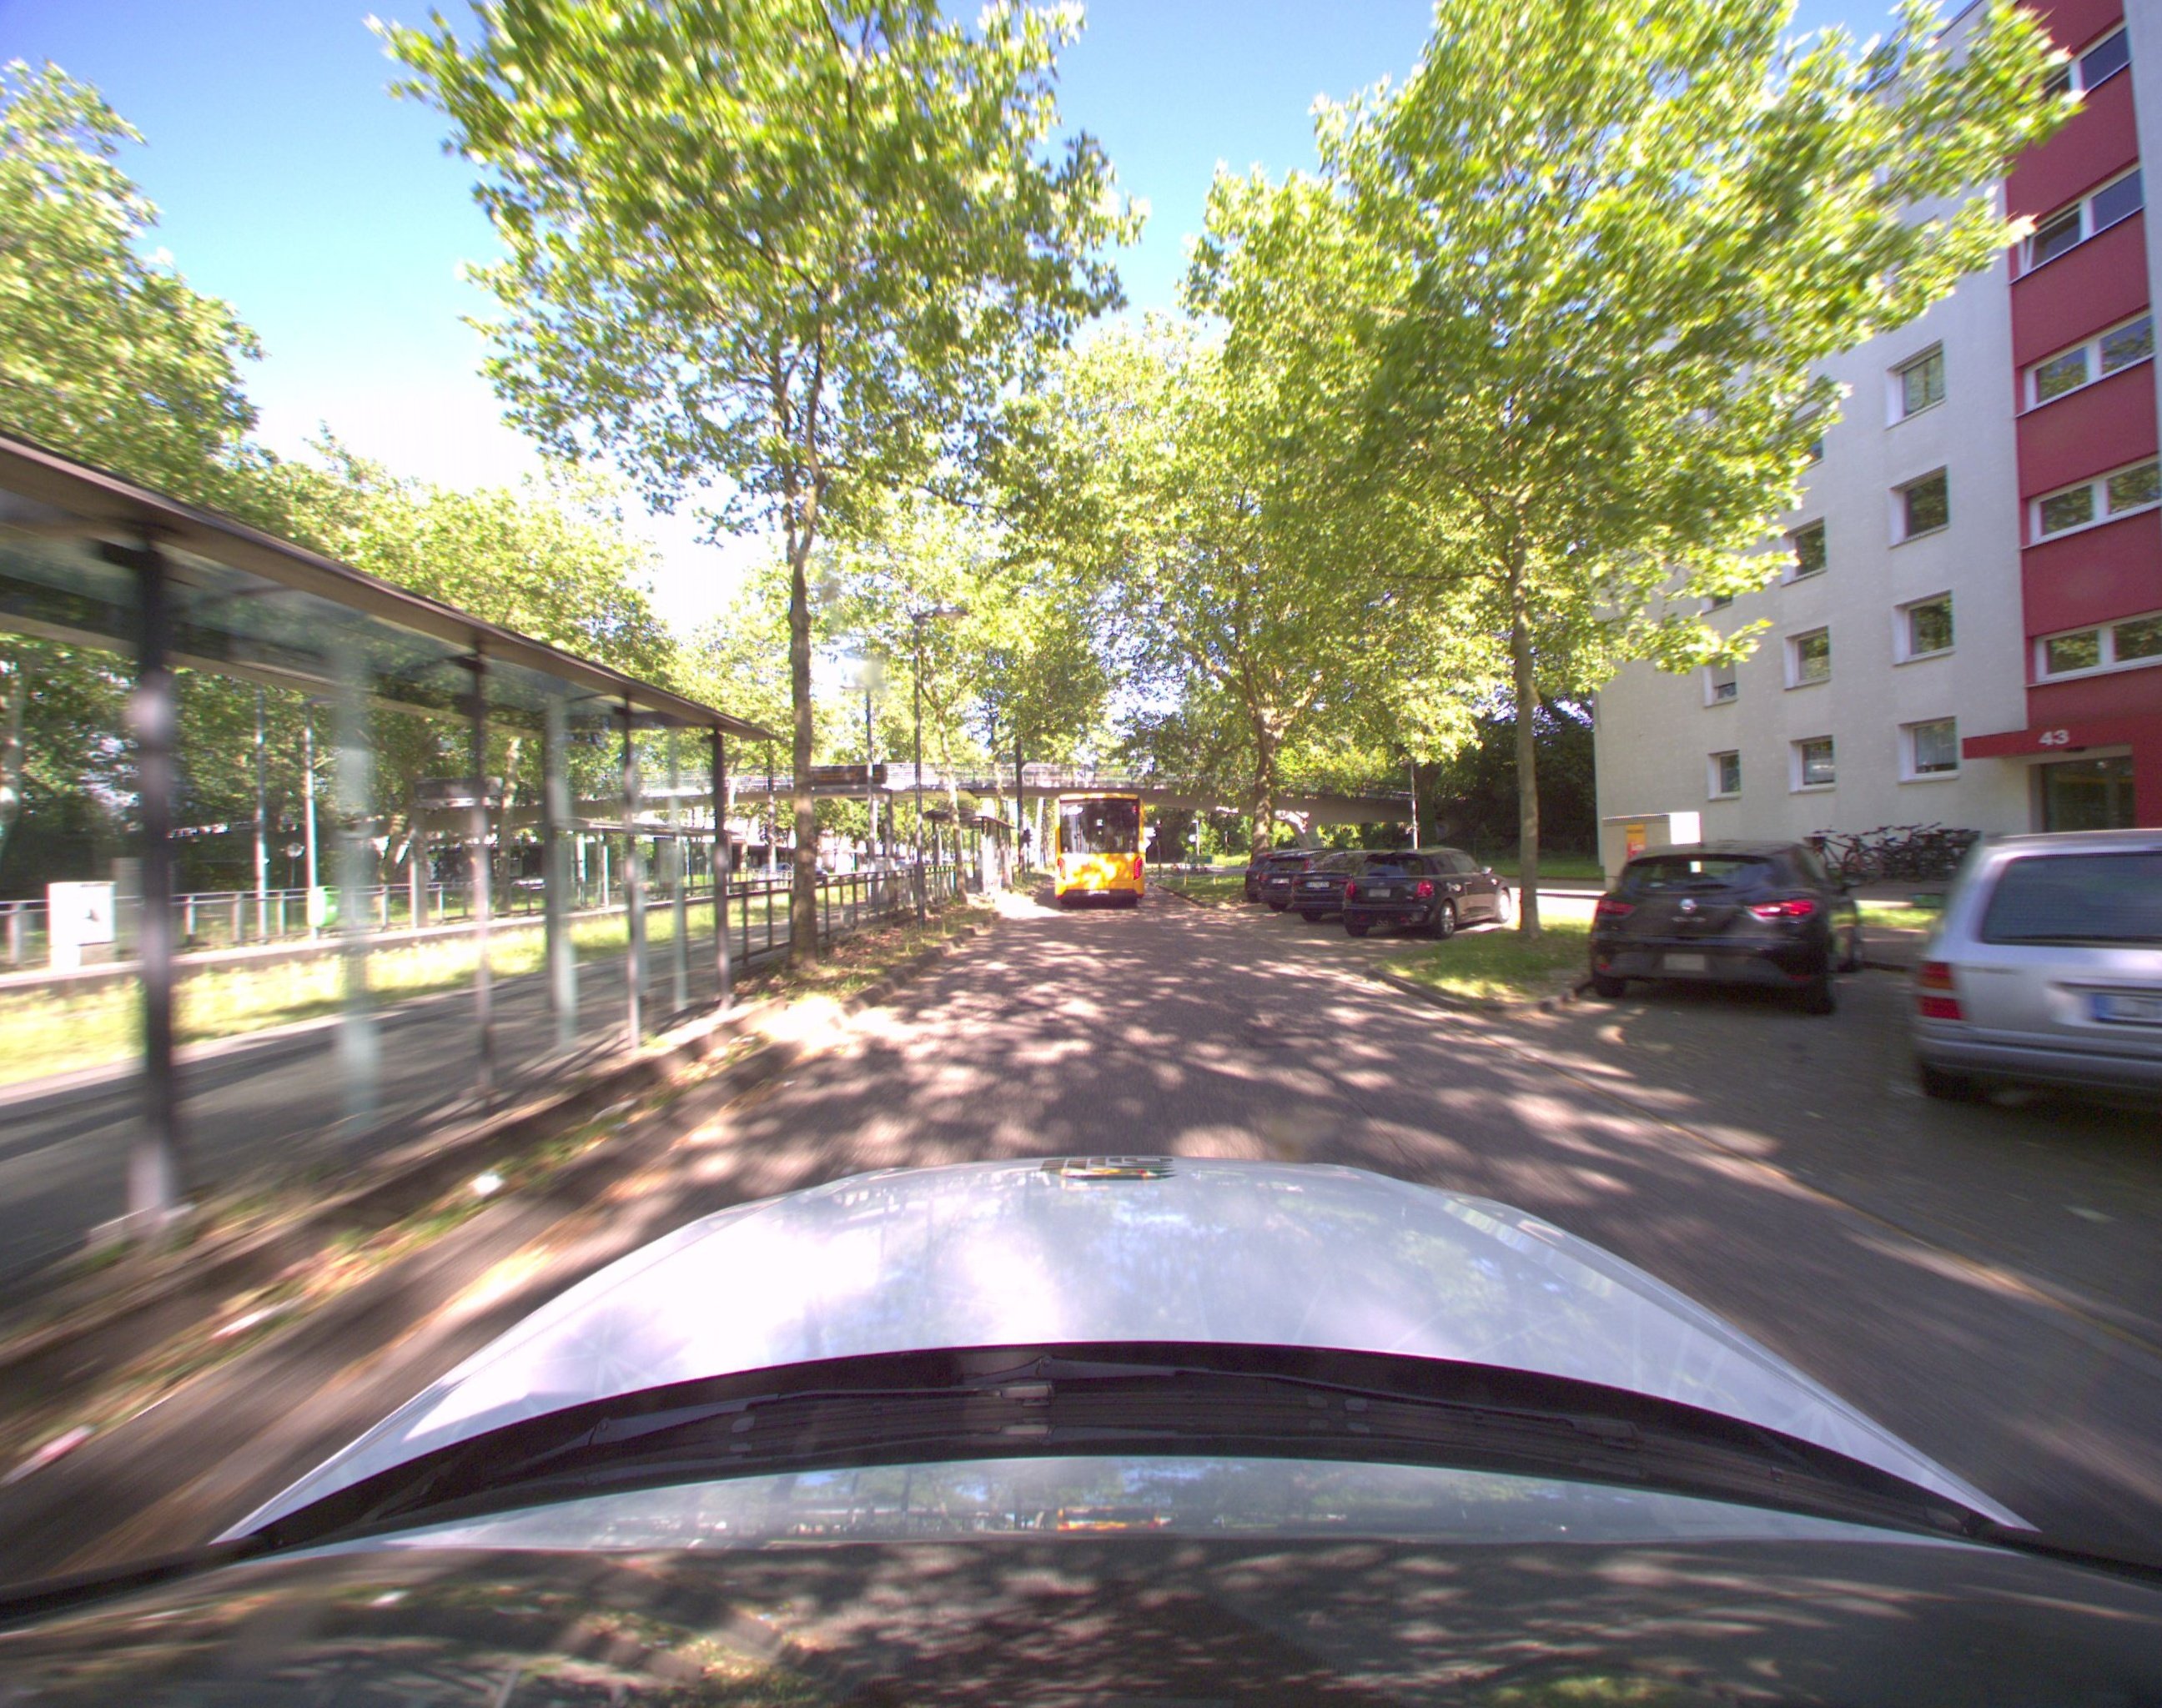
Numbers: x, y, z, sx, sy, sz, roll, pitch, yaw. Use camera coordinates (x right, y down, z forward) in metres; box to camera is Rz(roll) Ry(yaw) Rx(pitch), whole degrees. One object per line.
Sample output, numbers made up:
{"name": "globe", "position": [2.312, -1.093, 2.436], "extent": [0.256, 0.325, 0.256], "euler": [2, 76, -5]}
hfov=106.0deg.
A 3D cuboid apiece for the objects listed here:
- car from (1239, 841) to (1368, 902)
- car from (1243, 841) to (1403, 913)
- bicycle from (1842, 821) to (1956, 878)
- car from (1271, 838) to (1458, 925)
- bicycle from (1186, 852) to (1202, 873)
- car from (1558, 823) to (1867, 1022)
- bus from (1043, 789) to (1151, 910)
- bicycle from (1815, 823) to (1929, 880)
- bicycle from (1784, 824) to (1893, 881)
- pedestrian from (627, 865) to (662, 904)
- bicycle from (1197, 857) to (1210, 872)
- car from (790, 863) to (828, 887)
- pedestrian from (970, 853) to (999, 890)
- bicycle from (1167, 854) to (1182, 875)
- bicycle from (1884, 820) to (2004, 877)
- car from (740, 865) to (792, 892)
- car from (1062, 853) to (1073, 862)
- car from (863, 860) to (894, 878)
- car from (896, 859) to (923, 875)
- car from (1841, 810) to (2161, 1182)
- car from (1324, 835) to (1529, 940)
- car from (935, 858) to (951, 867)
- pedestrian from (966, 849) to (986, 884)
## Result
{"name": "car", "position": [6.581, 0.493, 23.835], "extent": [4.024, 1.461, 1.778], "euler": [-4, 0, -44]}
{"name": "car", "position": [6.229, 0.542, 20.718], "extent": [4.279, 1.461, 1.779], "euler": [-4, 0, -40]}
{"name": "bicycle", "position": [17.185, -0.090, 17.171], "extent": [0.588, 1.107, 1.800], "euler": [-2, 0, 0]}
{"name": "car", "position": [6.168, 0.537, 17.489], "extent": [4.279, 1.461, 1.779], "euler": [-4, 0, -40]}
{"name": "bicycle", "position": [6.838, 0.508, 49.273], "extent": [0.588, 1.182, 1.800], "euler": [-5, 1, 0]}
{"name": "car", "position": [6.489, 0.513, 8.205], "extent": [3.946, 1.416, 1.778], "euler": [-4, 0, -43]}
{"name": "bus", "position": [0.406, -0.110, 28.576], "extent": [2.891, 3.266, 12.214], "euler": [-2, 0, 0]}
{"name": "bicycle", "position": [16.436, -0.055, 16.988], "extent": [0.588, 1.107, 1.800], "euler": [-3, 0, 0]}
{"name": "bicycle", "position": [15.741, -0.038, 16.987], "extent": [0.588, 1.107, 1.800], "euler": [-2, 0, 0]}
{"name": "pedestrian", "position": [-14.528, 1.013, 27.120], "extent": [0.775, 1.238, 0.721], "euler": [-2, 0, -1]}
{"name": "bicycle", "position": [7.432, 0.619, 49.397], "extent": [0.503, 0.852, 1.473], "euler": [-5, 1, 0]}
{"name": "car", "position": [-19.554, 1.503, 58.503], "extent": [1.805, 1.566, 4.247], "euler": [-2, 0, -29]}
{"name": "pedestrian", "position": [-3.345, 0.602, 28.321], "extent": [0.851, 1.243, 0.850], "euler": [-1, 0, 2]}
{"name": "bicycle", "position": [5.654, 0.613, 49.349], "extent": [0.588, 1.182, 1.800], "euler": [-5, 1, 0]}
{"name": "bicycle", "position": [17.974, -0.117, 17.025], "extent": [0.588, 1.107, 1.800], "euler": [-2, 0, 0]}
{"name": "car", "position": [-20.244, 1.539, 52.492], "extent": [1.790, 1.566, 4.283], "euler": [-2, 0, -3]}
{"name": "car", "position": [-2.568, 0.680, 156.203], "extent": [1.979, 1.643, 4.135], "euler": [1, 1, 2]}
{"name": "car", "position": [-19.286, 1.373, 77.859], "extent": [1.788, 1.580, 4.288], "euler": [-2, 0, 1]}
{"name": "car", "position": [-17.555, 1.357, 83.500], "extent": [1.789, 1.510, 4.671], "euler": [-2, 0, -2]}
{"name": "car", "position": [6.140, 0.524, 4.906], "extent": [4.615, 1.423, 1.778], "euler": [-4, 0, -41]}
{"name": "car", "position": [6.203, 0.518, 14.424], "extent": [4.023, 1.468, 1.761], "euler": [-4, 0, -43]}
{"name": "car", "position": [-24.533, 1.469, 144.740], "extent": [1.786, 1.510, 4.004], "euler": [-2, 0, 3]}
{"name": "pedestrian", "position": [-4.400, 0.524, 34.182], "extent": [0.722, 1.417, 0.682], "euler": [-1, 0, 0]}
